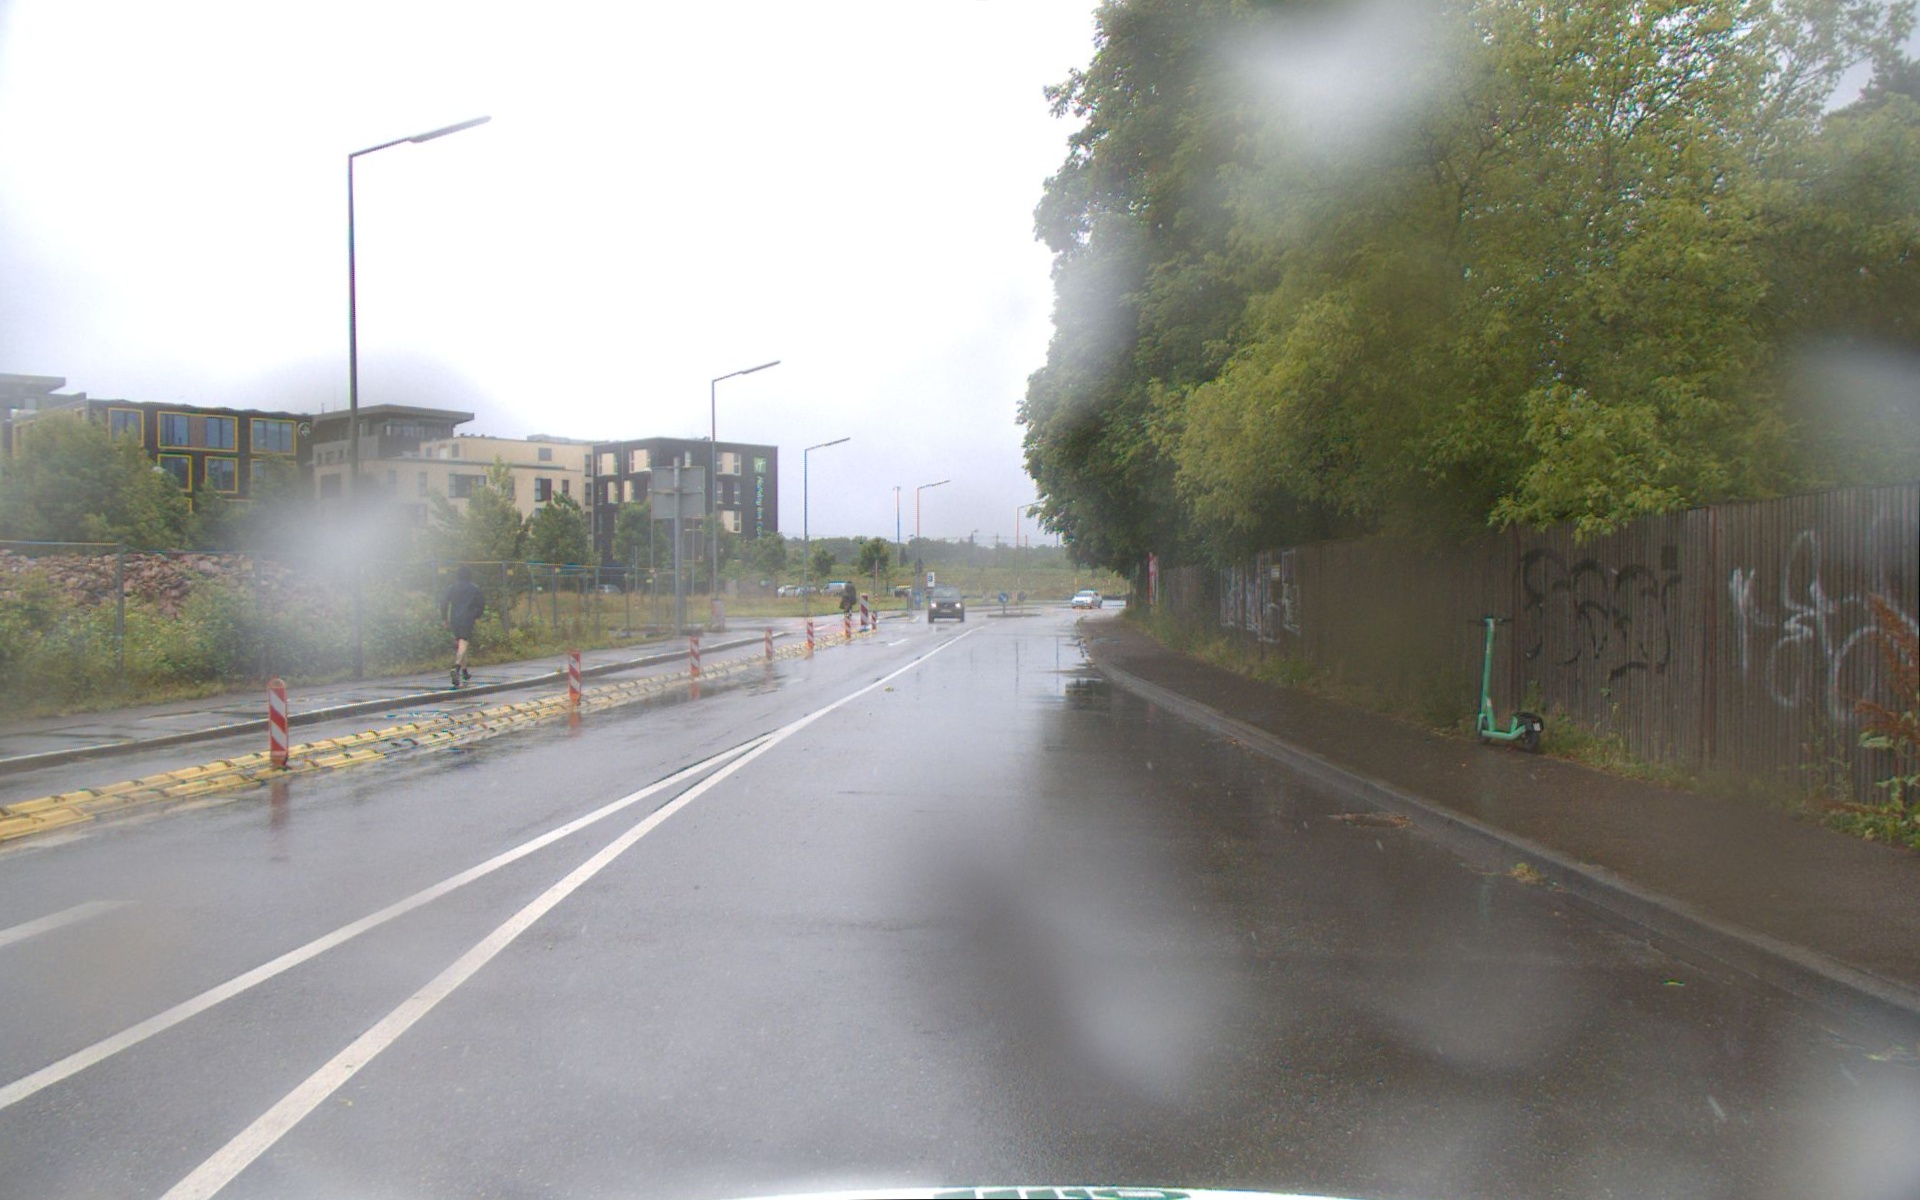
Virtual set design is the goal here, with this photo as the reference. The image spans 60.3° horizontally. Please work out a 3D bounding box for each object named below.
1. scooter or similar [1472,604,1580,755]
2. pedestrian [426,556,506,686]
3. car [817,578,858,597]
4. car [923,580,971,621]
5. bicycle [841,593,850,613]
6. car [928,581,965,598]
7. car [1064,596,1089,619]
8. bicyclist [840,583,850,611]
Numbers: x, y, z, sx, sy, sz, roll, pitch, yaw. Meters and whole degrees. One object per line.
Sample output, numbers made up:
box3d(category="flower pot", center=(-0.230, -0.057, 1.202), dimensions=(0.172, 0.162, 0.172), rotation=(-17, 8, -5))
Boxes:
box3d(category="scooter or similar", center=(4.946, 0.664, 14.510), dimensions=(0.481, 1.256, 1.370), rotation=(0, 0, 0))
box3d(category="pedestrian", center=(-7.980, 0.347, 26.763), dimensions=(0.828, 2.049, 1.132), rotation=(0, -2, 6))
box3d(category="car", center=(-12.869, -1.311, 173.983), dimensions=(3.965, 1.803, 1.970), rotation=(2, -3, -42))
box3d(category="car", center=(-0.554, 0.006, 75.150), dimensions=(1.952, 1.803, 4.001), rotation=(0, 0, 2))
box3d(category="bicycle", center=(-5.824, 0.150, 84.099), dimensions=(0.418, 1.037, 1.611), rotation=(0, 0, -2))
box3d(category="car", center=(-1.540, -1.190, 192.305), dimensions=(3.965, 1.803, 1.970), rotation=(2, -3, -42))
box3d(category="car", center=(9.836, 0.625, 139.393), dimensions=(1.951, 1.803, 4.002), rotation=(0, -2, 5))
box3d(category="bicyclist", center=(-5.858, -0.149, 84.213), dimensions=(0.435, 1.428, 0.550), rotation=(0, -2, -1))
